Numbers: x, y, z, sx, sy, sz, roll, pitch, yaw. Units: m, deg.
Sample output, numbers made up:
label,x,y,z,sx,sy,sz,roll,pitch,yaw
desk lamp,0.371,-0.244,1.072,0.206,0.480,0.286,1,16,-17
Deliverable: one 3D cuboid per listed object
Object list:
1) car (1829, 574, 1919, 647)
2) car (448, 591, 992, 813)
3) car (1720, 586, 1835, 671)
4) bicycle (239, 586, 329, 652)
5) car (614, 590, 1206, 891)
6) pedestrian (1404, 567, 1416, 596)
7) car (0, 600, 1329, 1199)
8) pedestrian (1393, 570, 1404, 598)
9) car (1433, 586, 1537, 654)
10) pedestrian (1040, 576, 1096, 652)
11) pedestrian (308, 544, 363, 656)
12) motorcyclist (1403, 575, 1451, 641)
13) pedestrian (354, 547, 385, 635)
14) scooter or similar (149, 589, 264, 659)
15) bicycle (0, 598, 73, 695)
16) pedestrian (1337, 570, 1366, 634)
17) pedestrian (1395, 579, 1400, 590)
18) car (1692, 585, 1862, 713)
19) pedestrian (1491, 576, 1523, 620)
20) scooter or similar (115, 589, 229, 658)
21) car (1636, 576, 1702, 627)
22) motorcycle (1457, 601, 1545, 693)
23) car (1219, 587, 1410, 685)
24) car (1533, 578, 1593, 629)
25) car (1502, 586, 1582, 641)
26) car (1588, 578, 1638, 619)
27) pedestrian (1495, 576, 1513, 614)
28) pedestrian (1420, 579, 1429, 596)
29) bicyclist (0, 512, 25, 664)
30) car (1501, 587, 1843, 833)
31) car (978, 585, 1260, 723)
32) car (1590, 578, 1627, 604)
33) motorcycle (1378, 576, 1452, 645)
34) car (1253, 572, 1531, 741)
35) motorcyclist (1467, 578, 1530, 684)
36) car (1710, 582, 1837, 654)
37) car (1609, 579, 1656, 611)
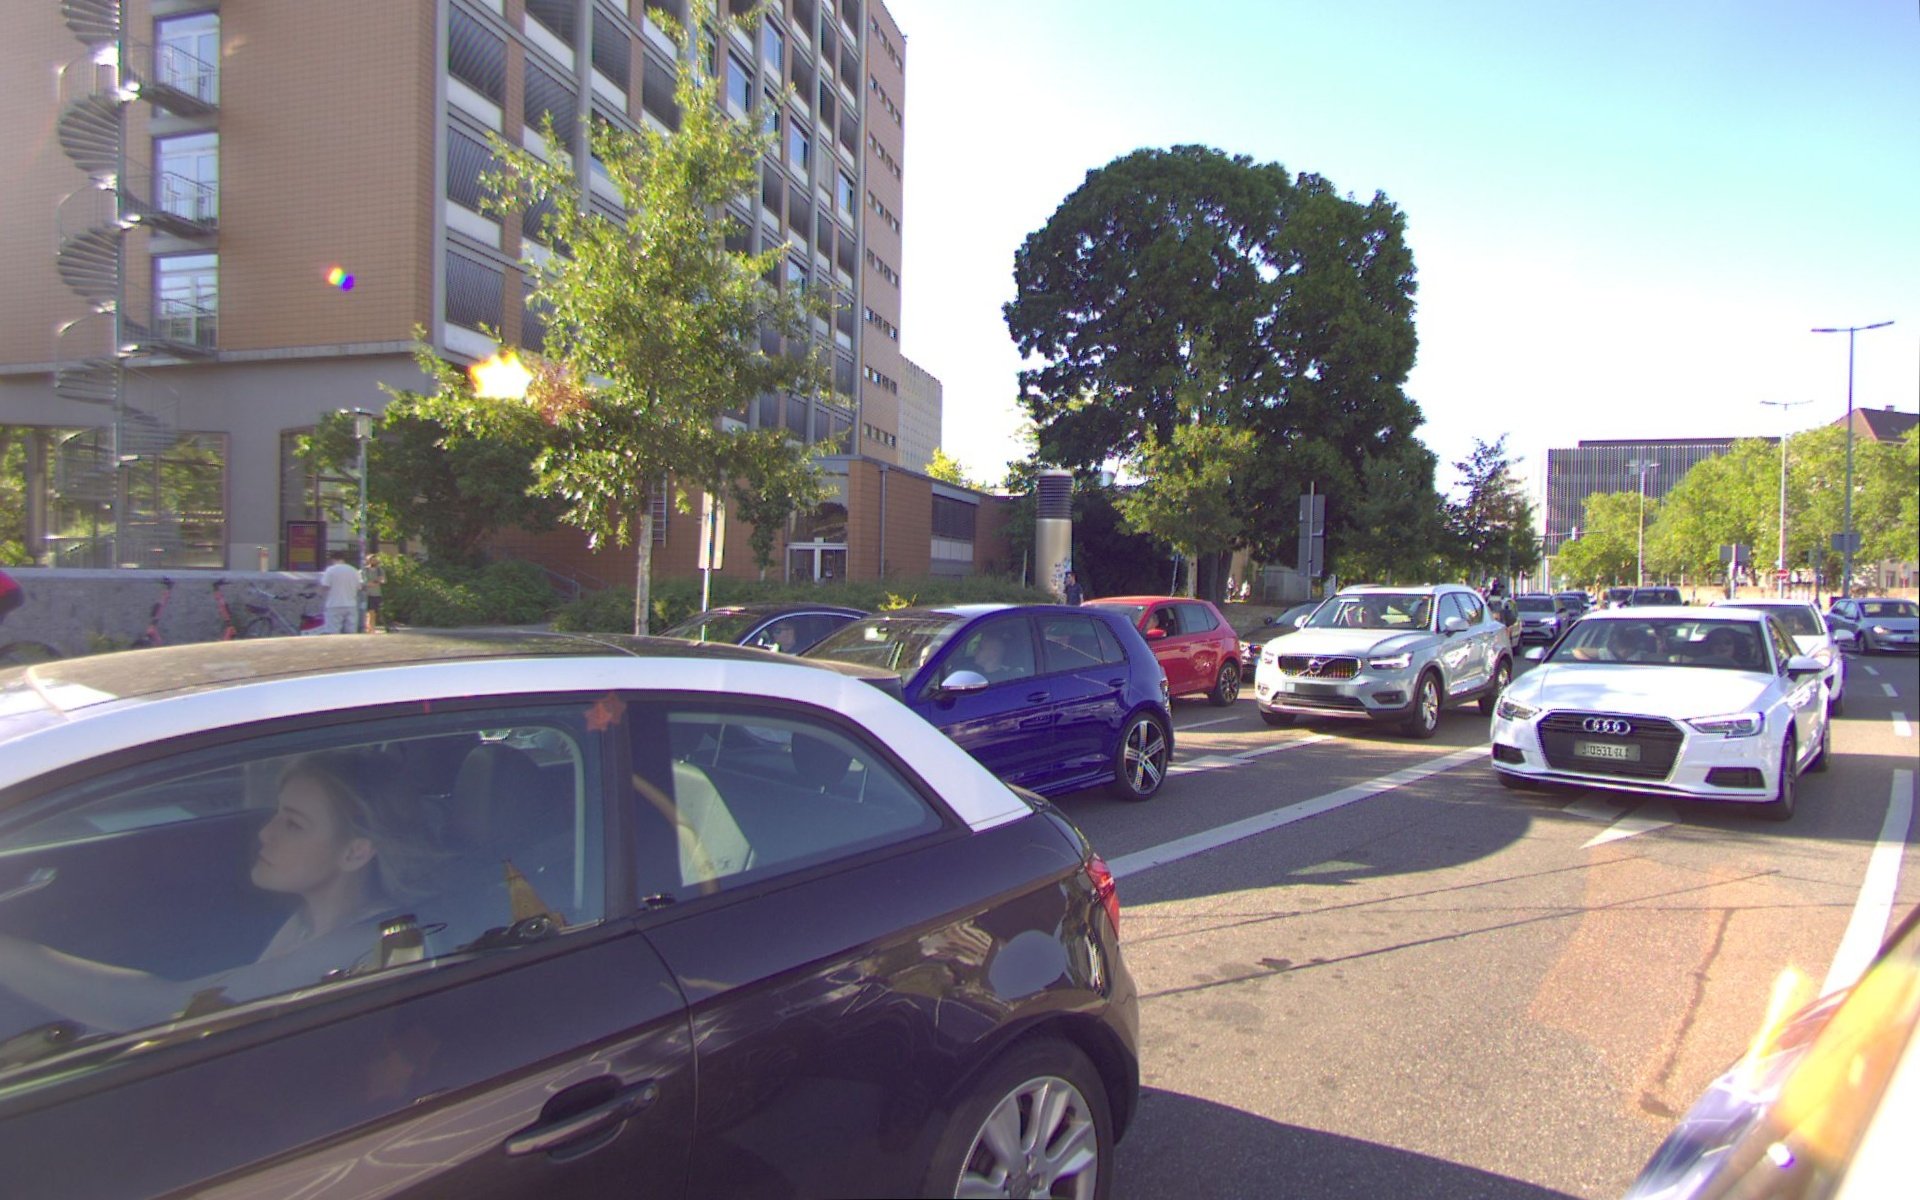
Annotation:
label,x,y,z,sx,sy,sz,roll,pitch,yaw
car,23.872,0.235,25.862,1.731,1.727,3.959,1,1,29
car,-1.868,0.669,8.943,4.438,1.422,1.724,-2,1,-44
car,16.187,0.491,20.065,1.621,1.478,3.985,-1,1,39
bicycle,-10.895,0.297,16.330,1.133,1.016,0.357,-1,0,-13
car,-0.118,0.673,6.906,3.934,1.422,1.625,-1,1,-43
pedestrian,24.866,-1.019,55.886,0.542,1.627,0.599,-1,0,27
car,-1.010,0.749,1.910,3.934,1.422,1.625,-1,1,-43
pedestrian,24.345,-0.885,56.174,0.542,1.549,0.599,-1,0,27
car,13.335,0.426,25.610,1.736,1.543,3.948,2,2,36
pedestrian,2.562,0.319,24.008,1.004,1.742,0.874,-1,0,36
pedestrian,-9.593,-0.014,15.545,0.677,1.660,0.592,5,4,45
motorcyclist,9.640,0.152,20.879,0.715,1.321,0.724,-1,0,42
pedestrian,-11.936,-0.184,20.452,0.441,1.754,0.372,-1,0,33
scooter or similar,-11.394,0.339,15.330,0.341,1.008,1.353,-1,0,40
bicycle,-10.585,0.501,10.520,1.998,0.975,0.660,-1,2,-38
pedestrian,11.841,0.055,30.582,0.681,1.910,0.465,-1,0,-26
pedestrian,58.077,-2.027,134.253,0.477,1.504,0.409,0,1,-43
car,11.299,0.552,13.962,1.622,1.478,3.983,0,1,41
pedestrian,25.748,-0.116,47.636,1.136,2.039,1.270,-1,0,36
scooter or similar,-12.095,0.335,15.573,0.339,1.008,1.359,-1,0,28
car,27.182,0.018,38.905,1.865,1.838,3.954,1,1,32
motorcycle,8.631,0.704,16.097,0.715,1.321,2.201,-1,1,42
car,6.238,0.534,17.587,1.624,1.478,3.978,0,1,44
car,23.297,0.081,39.047,1.865,1.838,3.954,1,1,32
car,18.309,0.374,31.745,1.736,1.564,3.948,2,2,36
car,30.455,-0.104,47.269,1.865,1.838,3.954,1,1,32
pedestrian,23.338,-0.219,43.401,0.592,1.615,0.587,-1,0,38
pedestrian,56.687,-1.511,123.457,0.827,2.039,1.062,-1,0,16
bicyclist,-10.461,-0.120,10.641,0.855,1.580,0.617,-1,0,-38
car,5.723,0.639,7.945,1.624,1.422,3.773,0,1,44
car,2.180,0.576,13.143,1.624,1.478,3.978,0,1,44
car,47.517,-0.656,74.203,1.861,1.838,3.964,1,1,26
motorcycle,9.162,0.183,20.311,0.715,1.321,2.201,-1,1,42
car,5.200,0.507,11.893,1.624,1.641,4.157,0,1,44
motorcyclist,8.475,0.465,15.922,0.709,1.610,0.679,-1,0,42
car,19.699,0.361,24.678,1.731,1.564,3.959,1,1,29
car,40.297,-0.314,60.726,1.861,1.838,3.964,1,1,26
